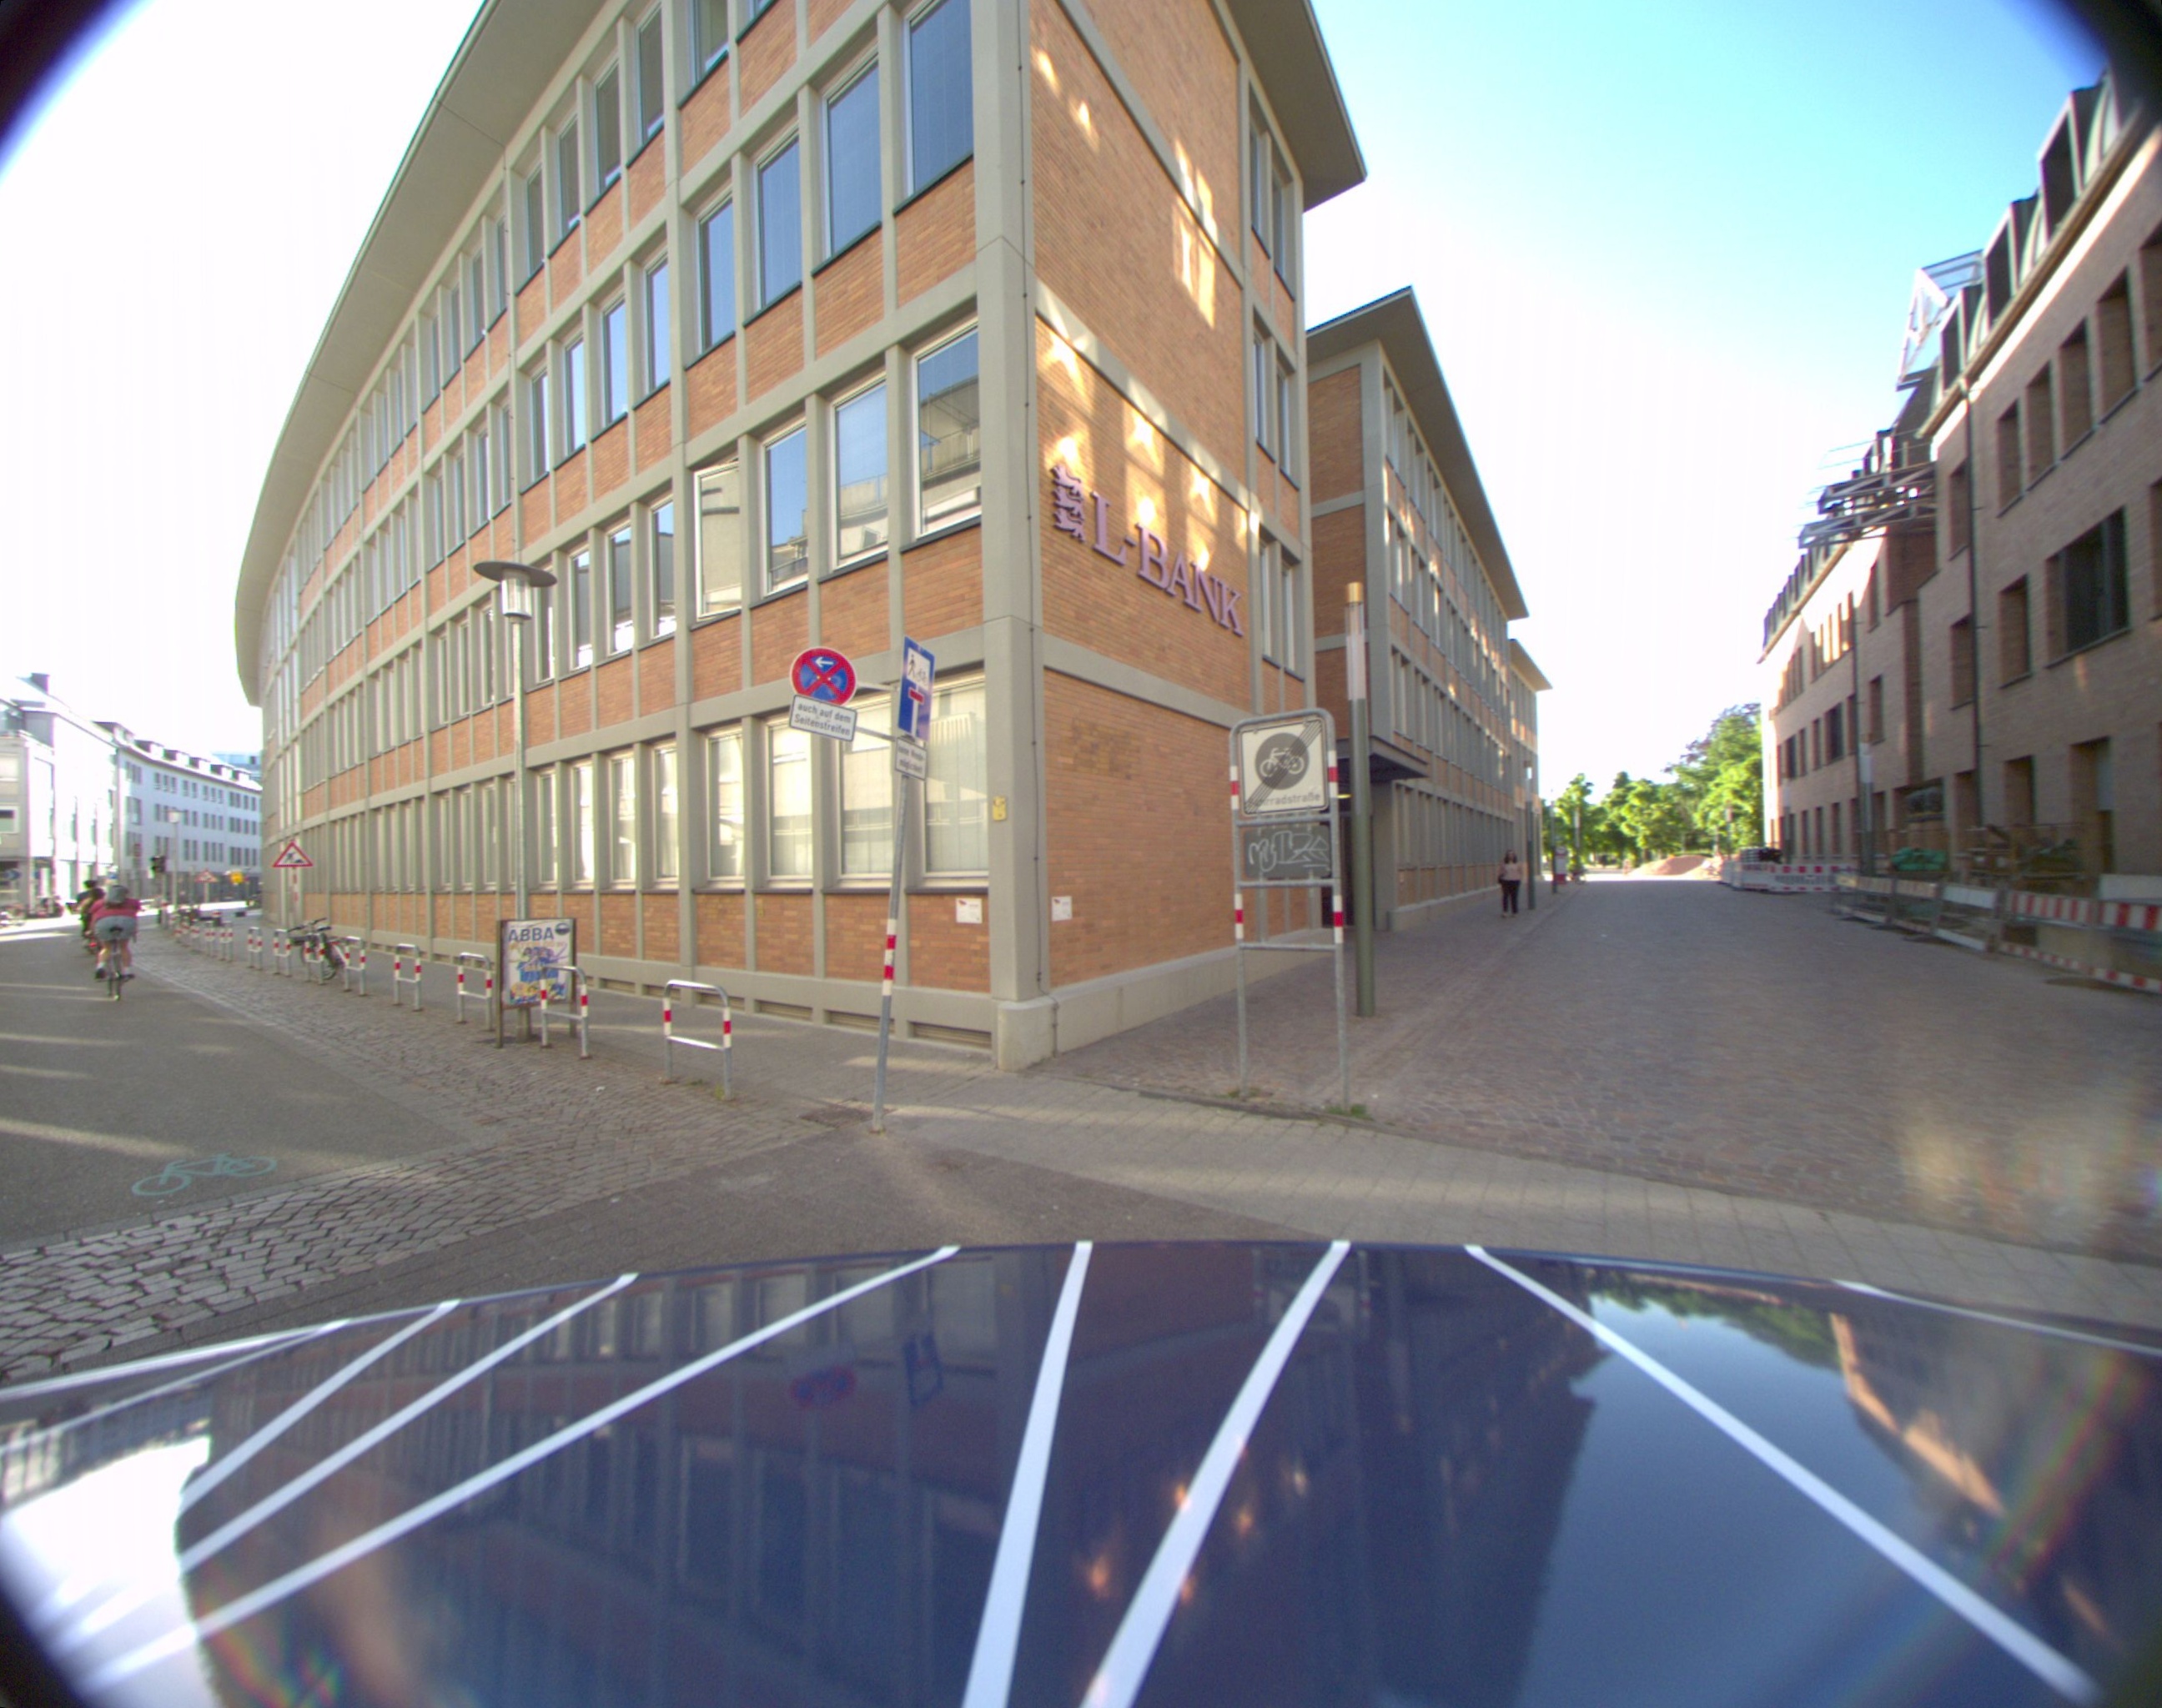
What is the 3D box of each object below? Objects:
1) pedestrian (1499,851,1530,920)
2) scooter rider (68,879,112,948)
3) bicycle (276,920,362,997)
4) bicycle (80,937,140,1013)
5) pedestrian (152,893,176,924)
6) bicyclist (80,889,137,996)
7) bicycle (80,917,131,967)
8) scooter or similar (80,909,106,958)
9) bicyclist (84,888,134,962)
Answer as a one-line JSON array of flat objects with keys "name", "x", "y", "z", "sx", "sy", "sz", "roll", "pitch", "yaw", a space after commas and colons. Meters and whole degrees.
[{"name": "pedestrian", "x": 11.413, "y": 0.821, "z": 19.998, "sx": 0.637, "sy": 1.774, "sz": 0.654, "roll": -1, "pitch": -2, "yaw": 35}, {"name": "scooter rider", "x": -25.555, "y": 1.513, "z": 19.588, "sx": 0.700, "sy": 1.716, "sz": 0.650, "roll": 0, "pitch": 1, "yaw": 35}, {"name": "bicycle", "x": -12.665, "y": 1.696, "z": 12.610, "sx": 1.925, "sy": 1.110, "sz": 0.639, "roll": -2, "pitch": 0, "yaw": 34}, {"name": "bicycle", "x": -14.140, "y": 1.730, "z": 11.060, "sx": 1.586, "sy": 0.951, "sz": 0.437, "roll": -2, "pitch": -2, "yaw": 35}, {"name": "pedestrian", "x": -42.992, "y": 2.543, "z": 35.611, "sx": 0.594, "sy": 1.432, "sz": 0.661, "roll": -2, "pitch": 0, "yaw": 38}, {"name": "bicyclist", "x": -14.168, "y": 1.255, "z": 11.068, "sx": 0.873, "sy": 1.489, "sz": 0.429, "roll": -1, "pitch": -2, "yaw": 34}, {"name": "bicycle", "x": -22.531, "y": 2.004, "z": 17.545, "sx": 1.796, "sy": 1.045, "sz": 0.593, "roll": -2, "pitch": -2, "yaw": 35}, {"name": "scooter or similar", "x": -25.513, "y": 2.045, "z": 19.612, "sx": 1.275, "sy": 1.178, "sz": 0.338, "roll": -1, "pitch": -2, "yaw": 36}, {"name": "bicyclist", "x": -22.420, "y": 1.610, "z": 17.524, "sx": 0.821, "sy": 1.656, "sz": 0.621, "roll": -2, "pitch": -3, "yaw": 35}]
